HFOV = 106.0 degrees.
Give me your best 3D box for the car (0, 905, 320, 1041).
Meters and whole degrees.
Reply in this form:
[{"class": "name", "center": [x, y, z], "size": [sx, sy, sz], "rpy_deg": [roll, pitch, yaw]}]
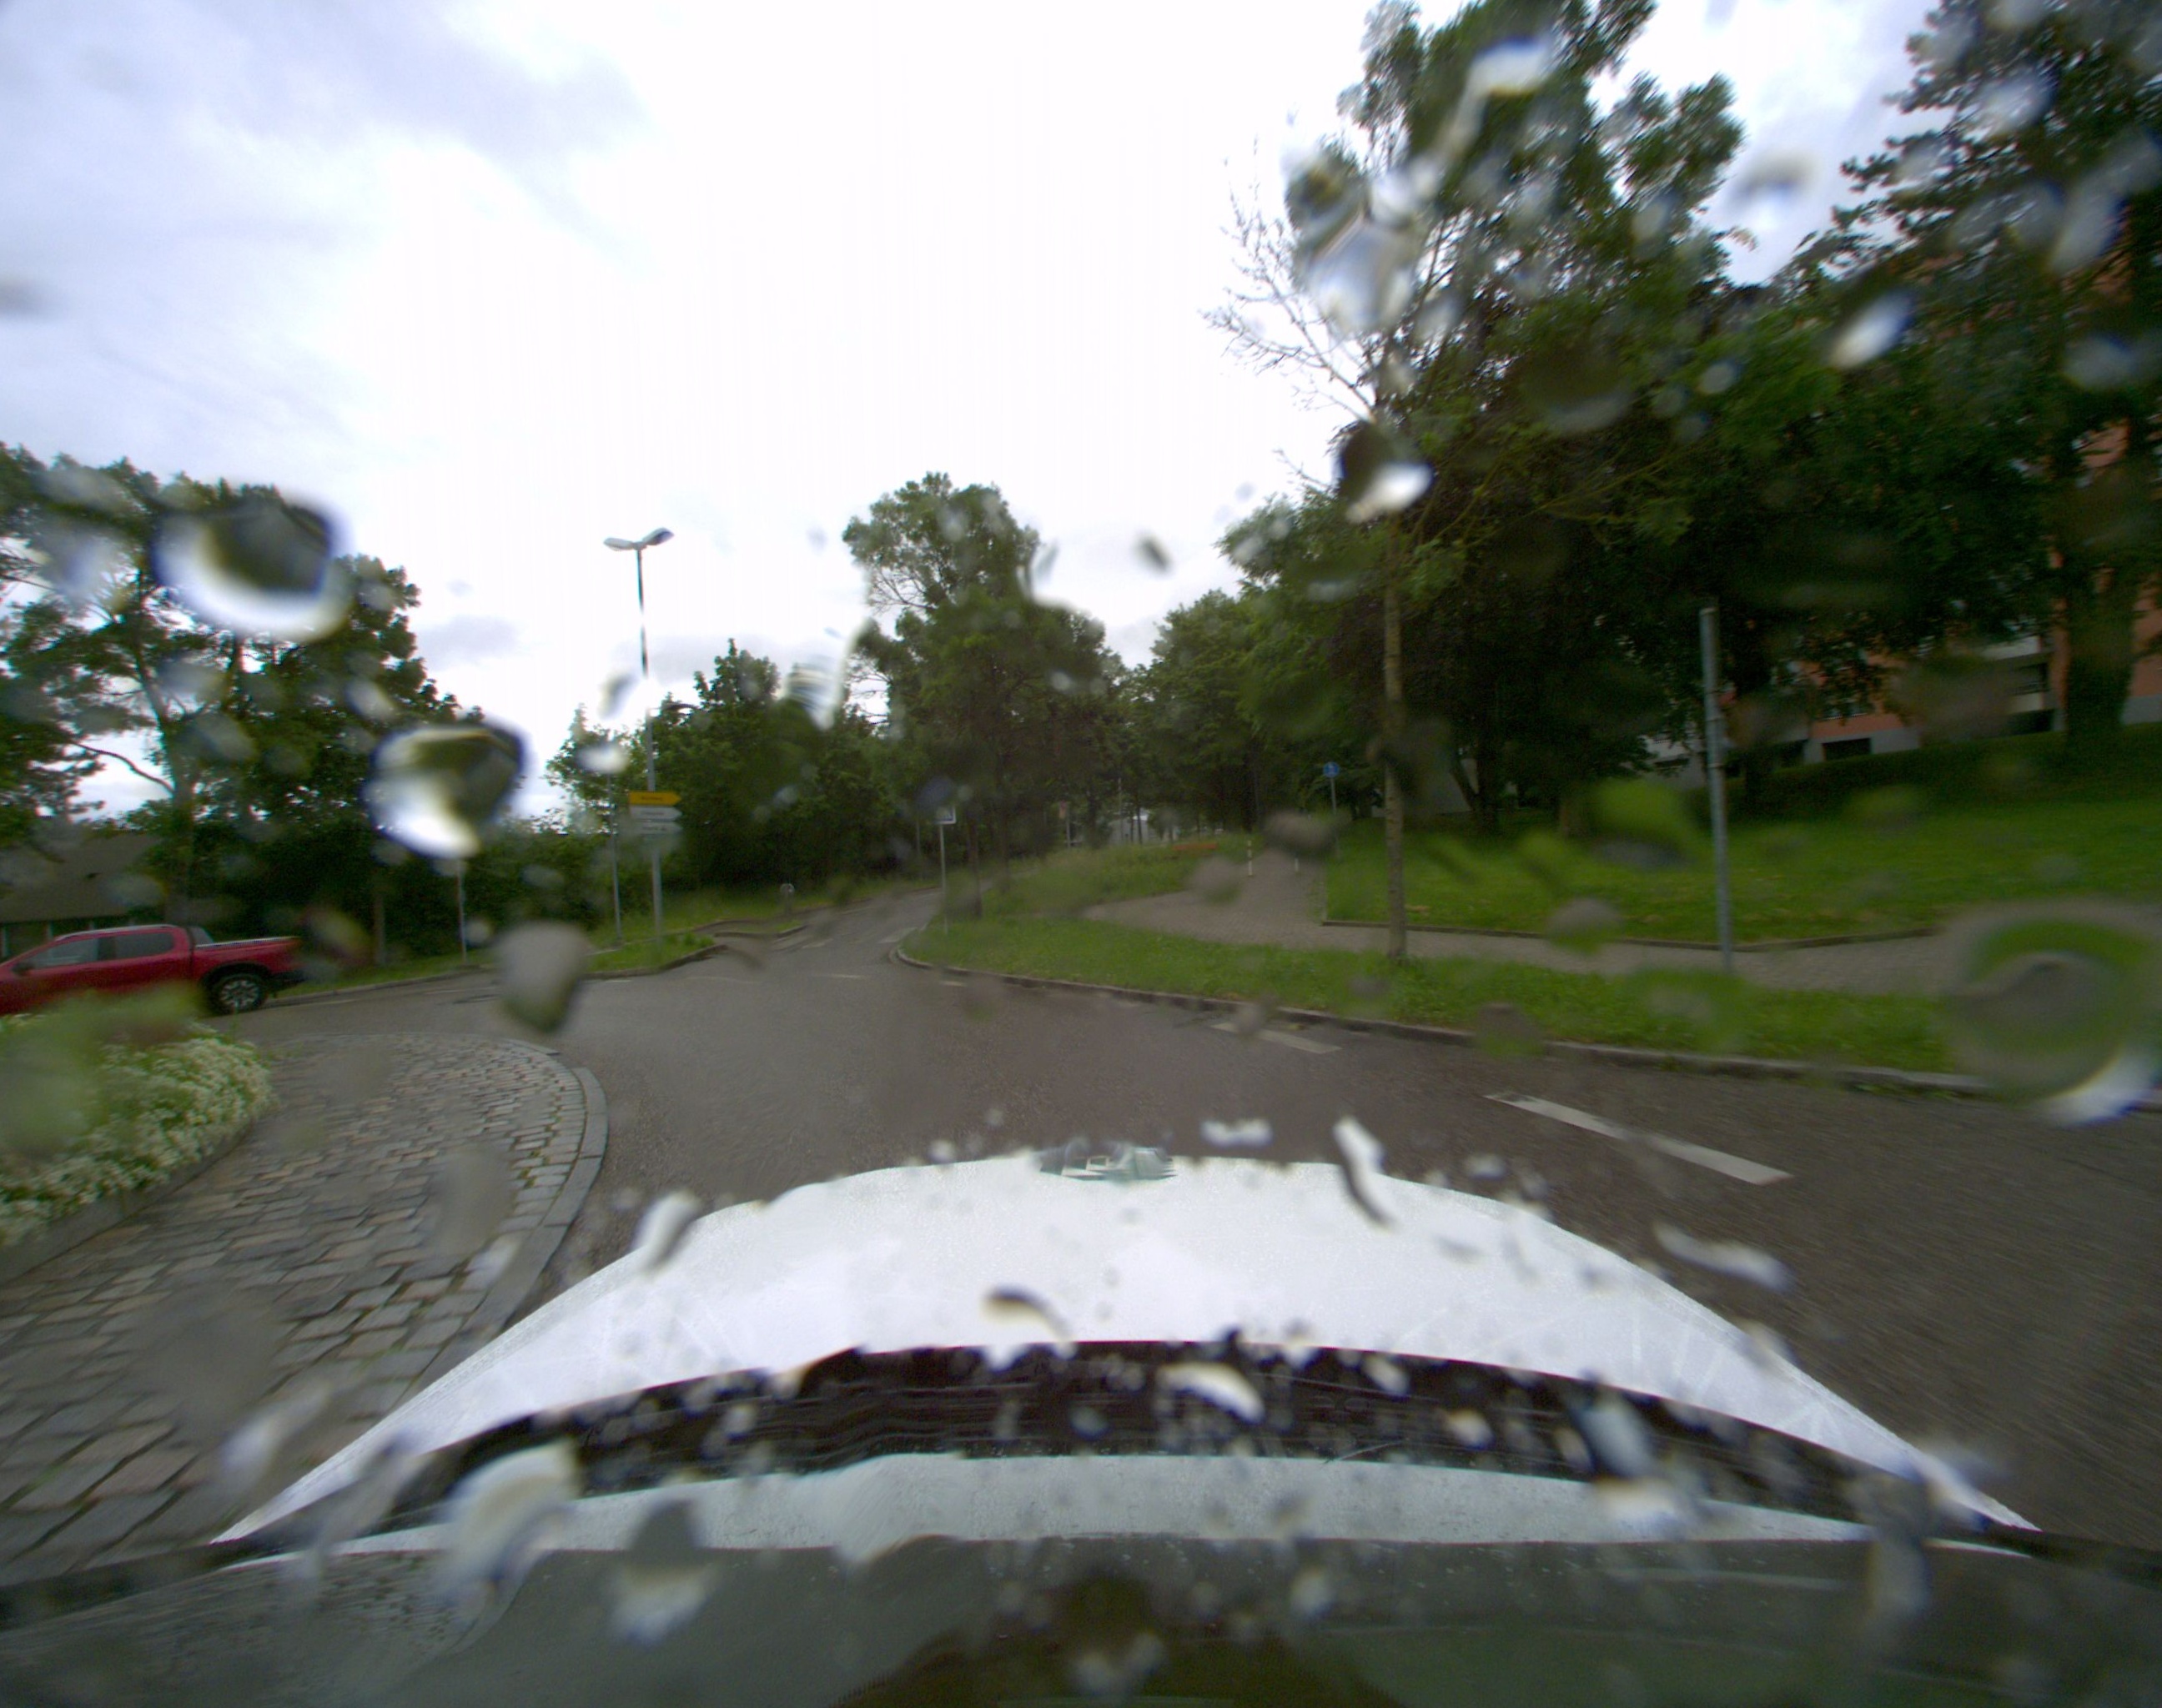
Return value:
[{"class": "car", "center": [-17.753, 2.135, 14.918], "size": [1.974, 1.795, 5.144], "rpy_deg": [-4, 1, 33]}]
